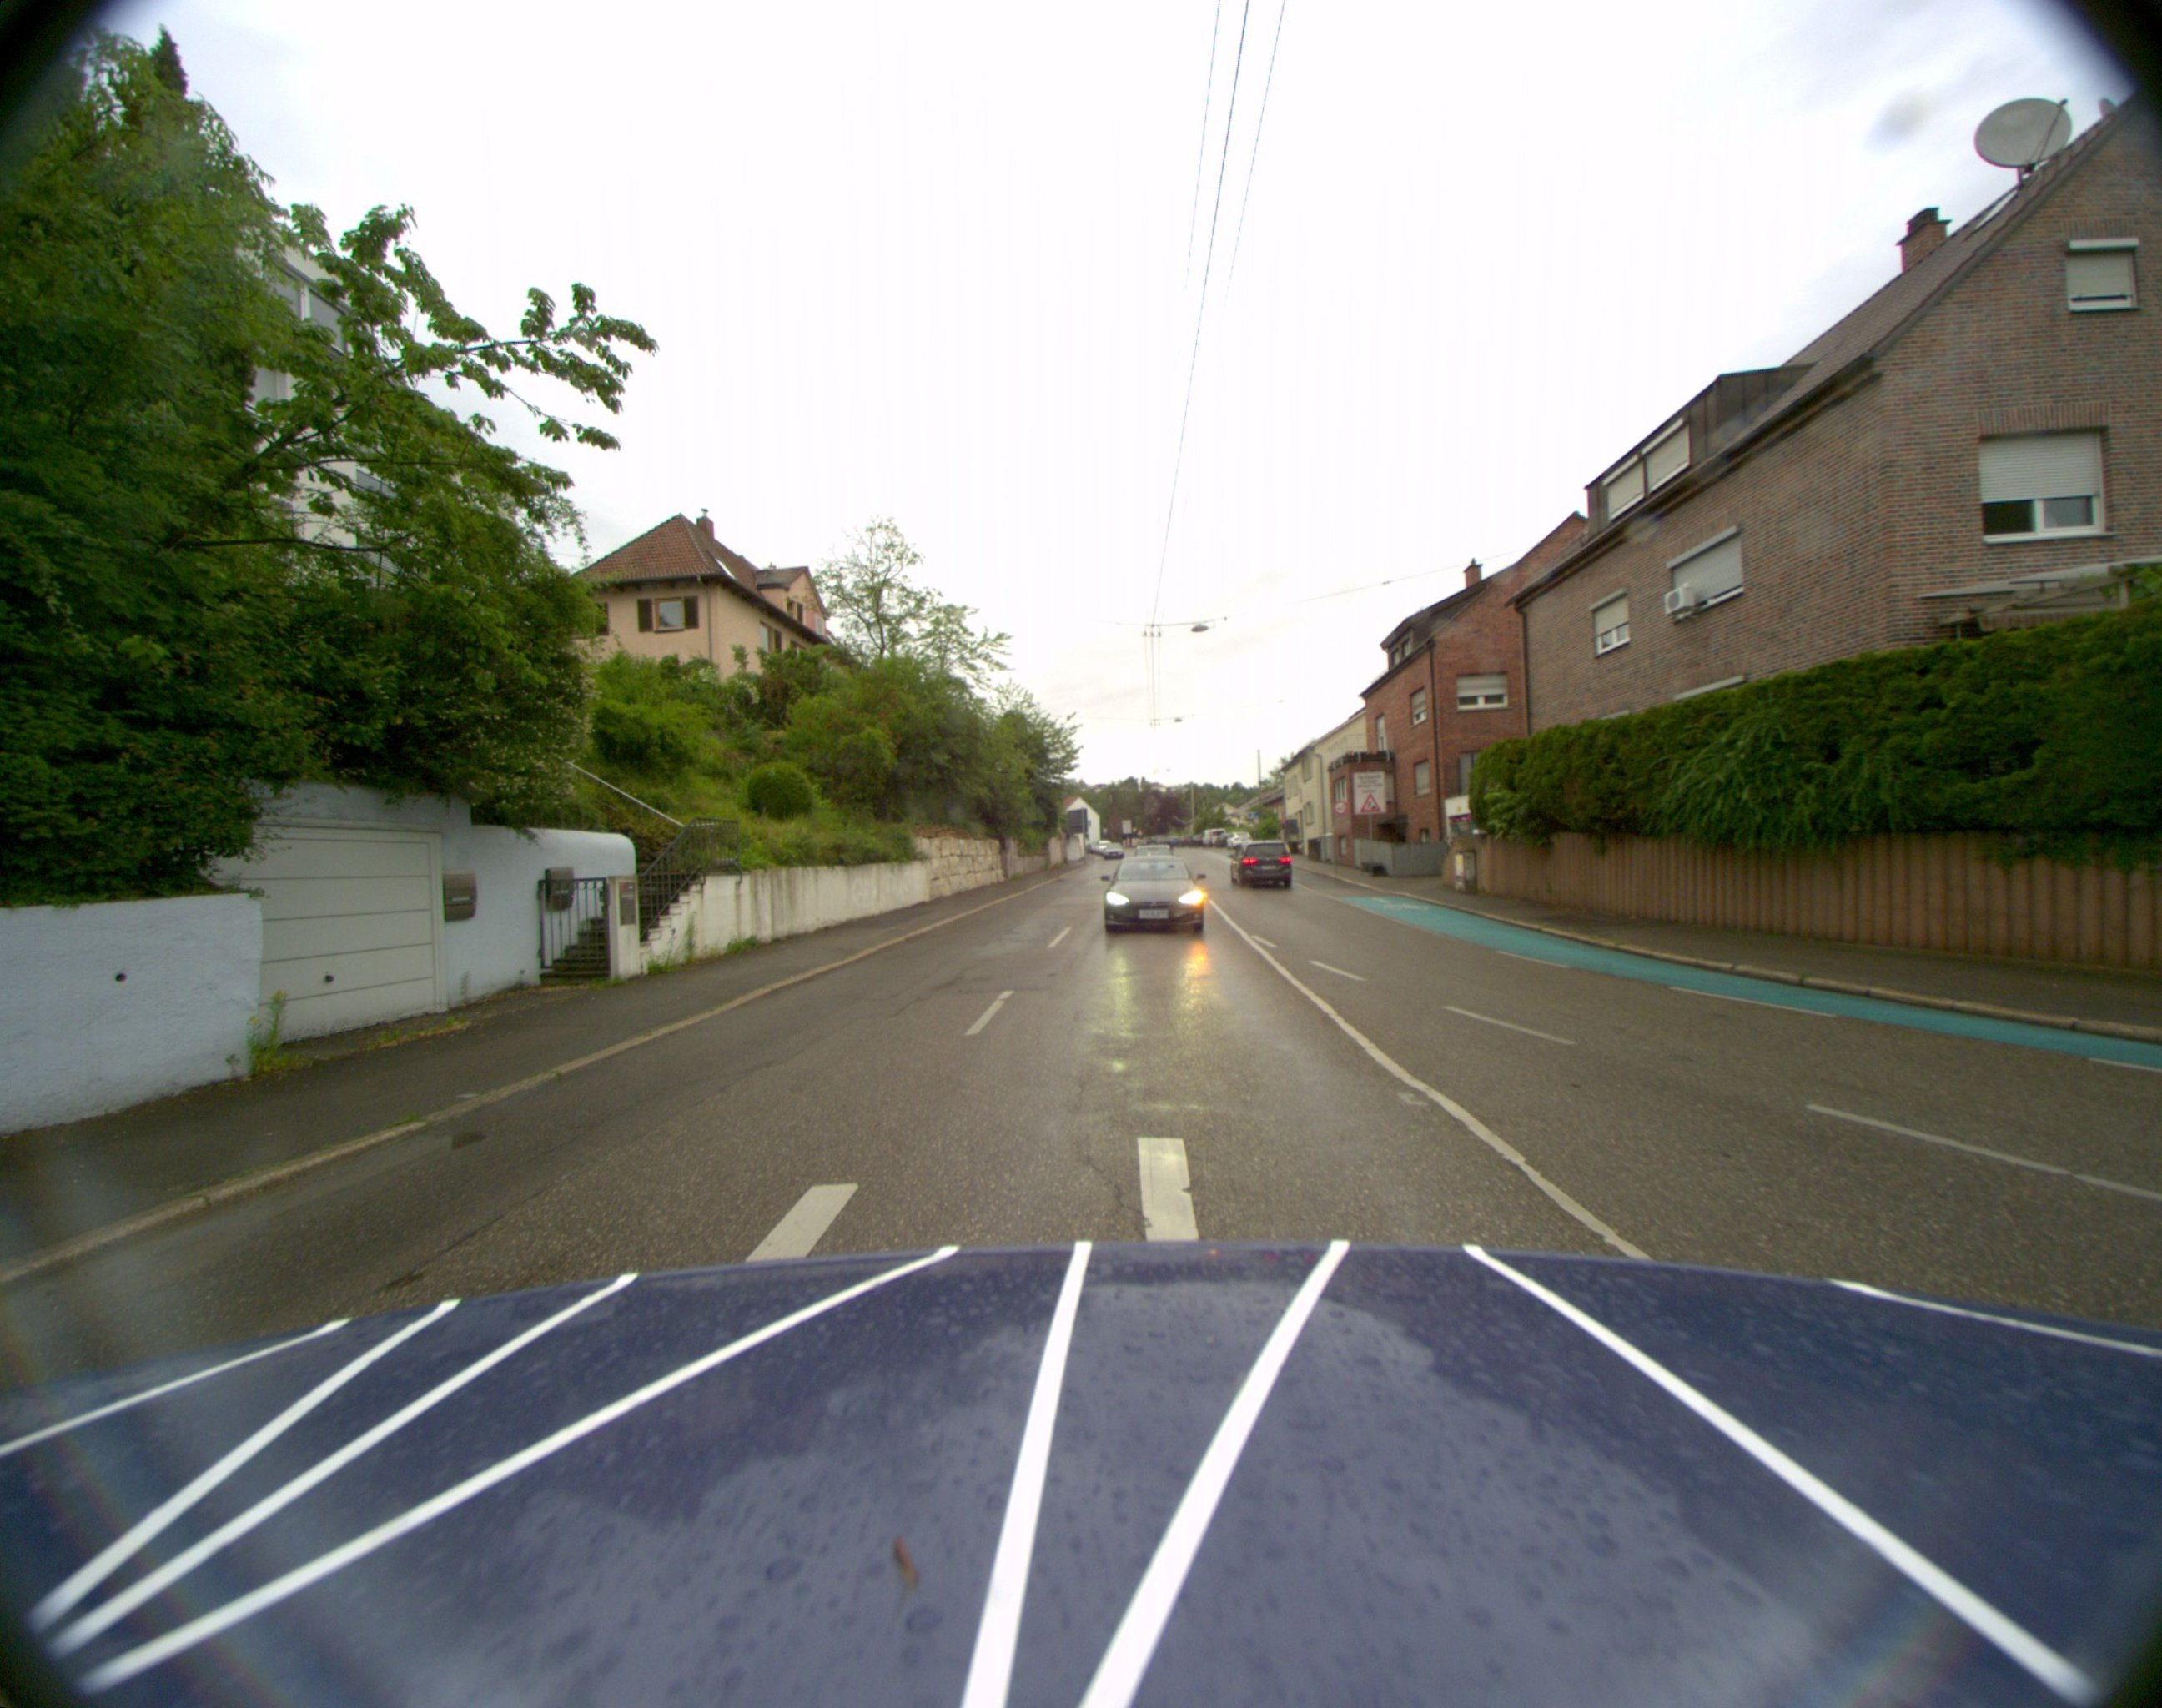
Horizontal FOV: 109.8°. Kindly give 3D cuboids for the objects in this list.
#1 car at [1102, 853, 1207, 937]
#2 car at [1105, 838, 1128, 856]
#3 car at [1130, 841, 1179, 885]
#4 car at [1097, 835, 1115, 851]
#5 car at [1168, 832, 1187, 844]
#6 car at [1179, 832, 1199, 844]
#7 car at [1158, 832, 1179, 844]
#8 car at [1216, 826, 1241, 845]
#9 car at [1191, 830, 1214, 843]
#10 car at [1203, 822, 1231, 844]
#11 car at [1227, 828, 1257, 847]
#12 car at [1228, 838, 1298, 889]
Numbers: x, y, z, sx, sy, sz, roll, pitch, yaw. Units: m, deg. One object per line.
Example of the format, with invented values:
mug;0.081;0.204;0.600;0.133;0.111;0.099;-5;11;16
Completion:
car;1.482;0.750;15.835;1.870;1.407;4.000;-2;1;4
car;3.430;-0.624;72.974;2.002;1.596;4.359;-2;-1;4
car;2.890;0.320;30.238;1.789;1.580;3.784;-2;1;4
car;2.921;-1.301;88.840;1.820;1.855;4.038;-2;2;-1
car;13.040;-2.133;102.802;1.624;1.482;3.901;-4;1;-4
car;13.792;-2.052;97.158;1.654;1.388;3.859;-4;1;-4
car;10.400;-1.896;90.264;1.920;1.438;3.716;-2;1;-2
car;15.487;-1.901;79.953;1.814;1.793;4.263;-4;1;1
car;14.539;-2.080;91.324;1.654;1.482;4.009;-4;1;-6
car;15.359;-2.330;85.982;2.257;2.273;4.546;-4;1;0
car;15.143;-1.550;71.804;1.946;1.557;4.263;-4;1;1
car;6.533;0.273;27.715;1.853;1.671;4.172;0;2;4
